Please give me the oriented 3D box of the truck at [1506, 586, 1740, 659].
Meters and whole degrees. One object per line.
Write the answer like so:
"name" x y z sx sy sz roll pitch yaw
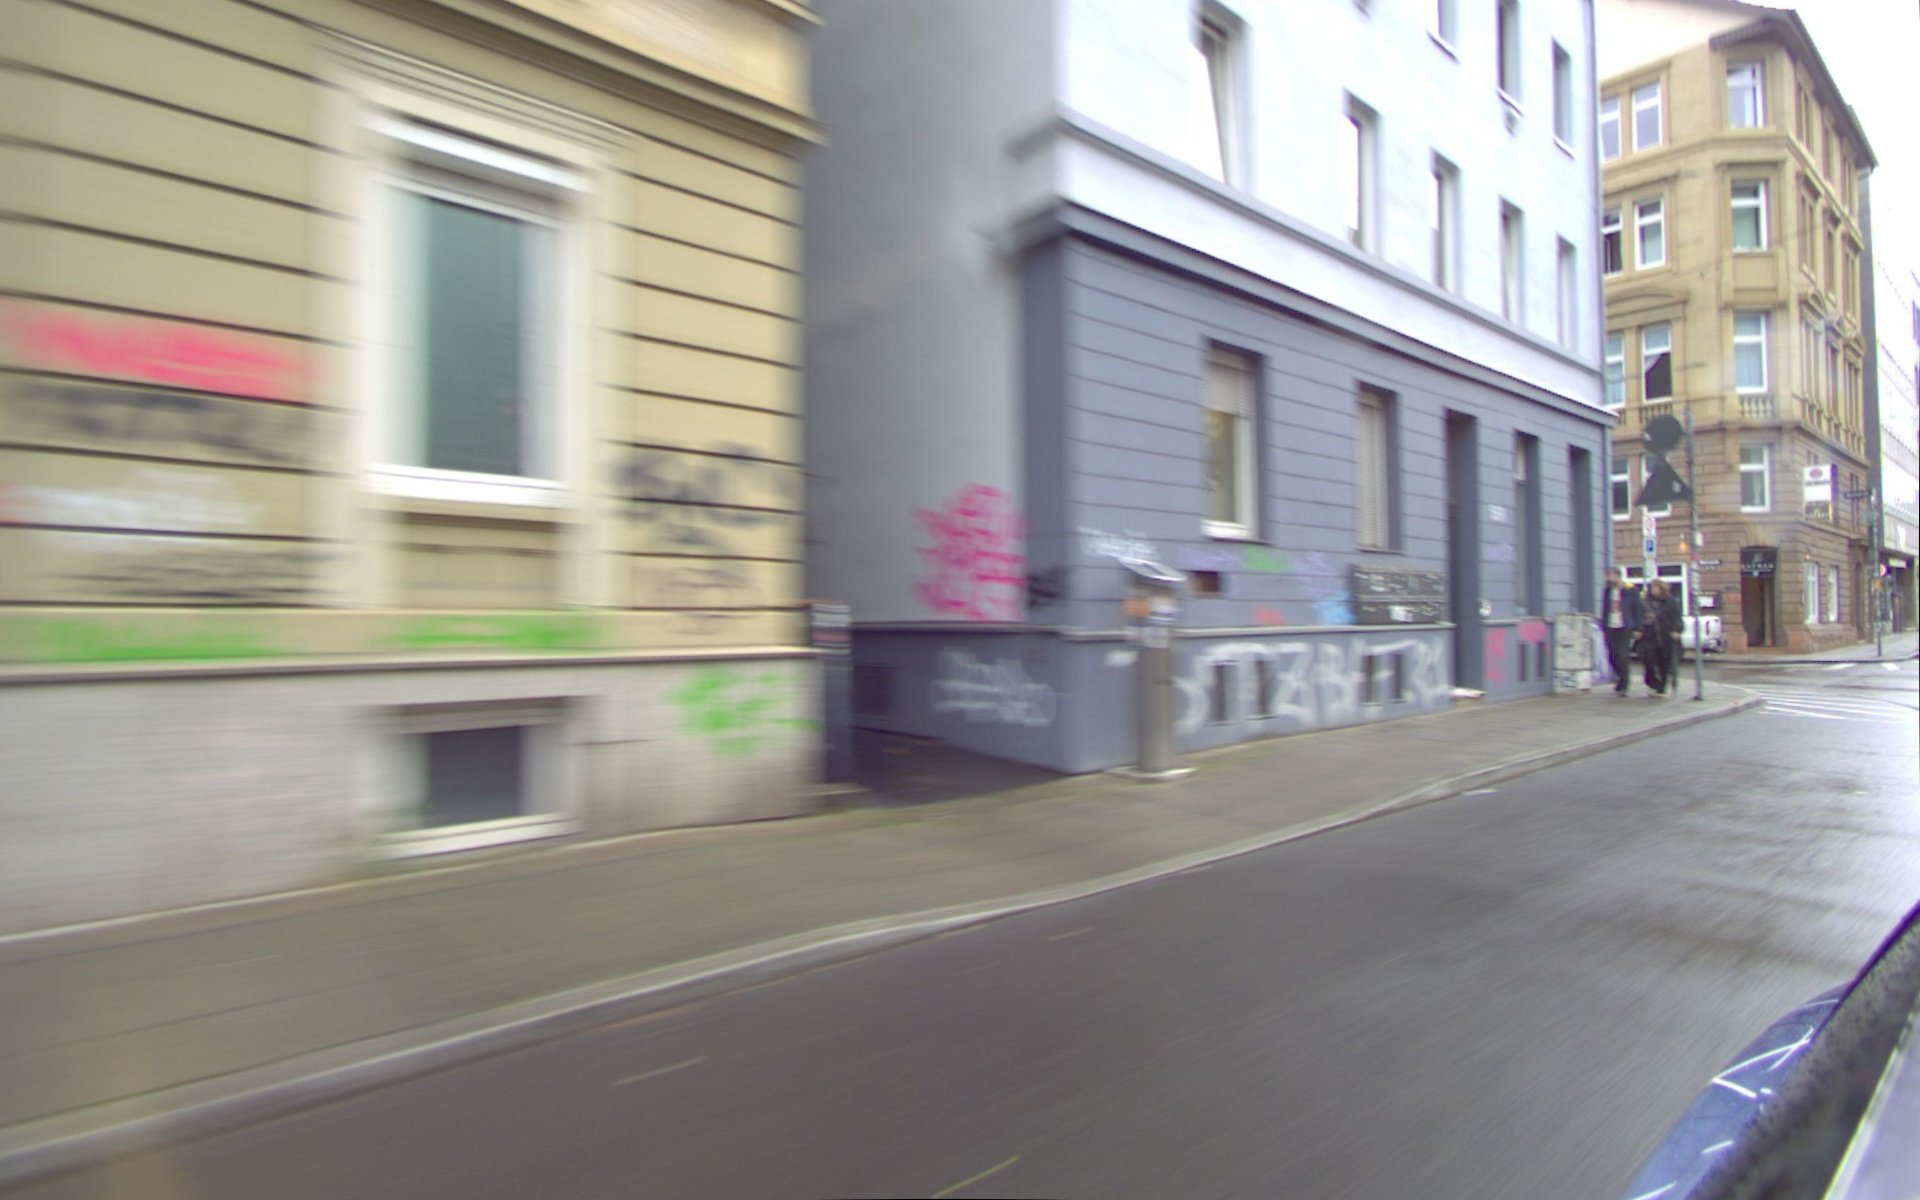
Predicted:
"truck" 18.210 0.605 27.987 2.049 1.841 5.063 0 -1 -43

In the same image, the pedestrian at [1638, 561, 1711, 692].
"pedestrian" 10.648 0.391 15.089 0.807 1.876 0.662 0 -2 -42

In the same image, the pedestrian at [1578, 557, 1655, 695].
"pedestrian" 10.065 0.399 15.523 0.807 2.040 0.737 0 -2 -42
